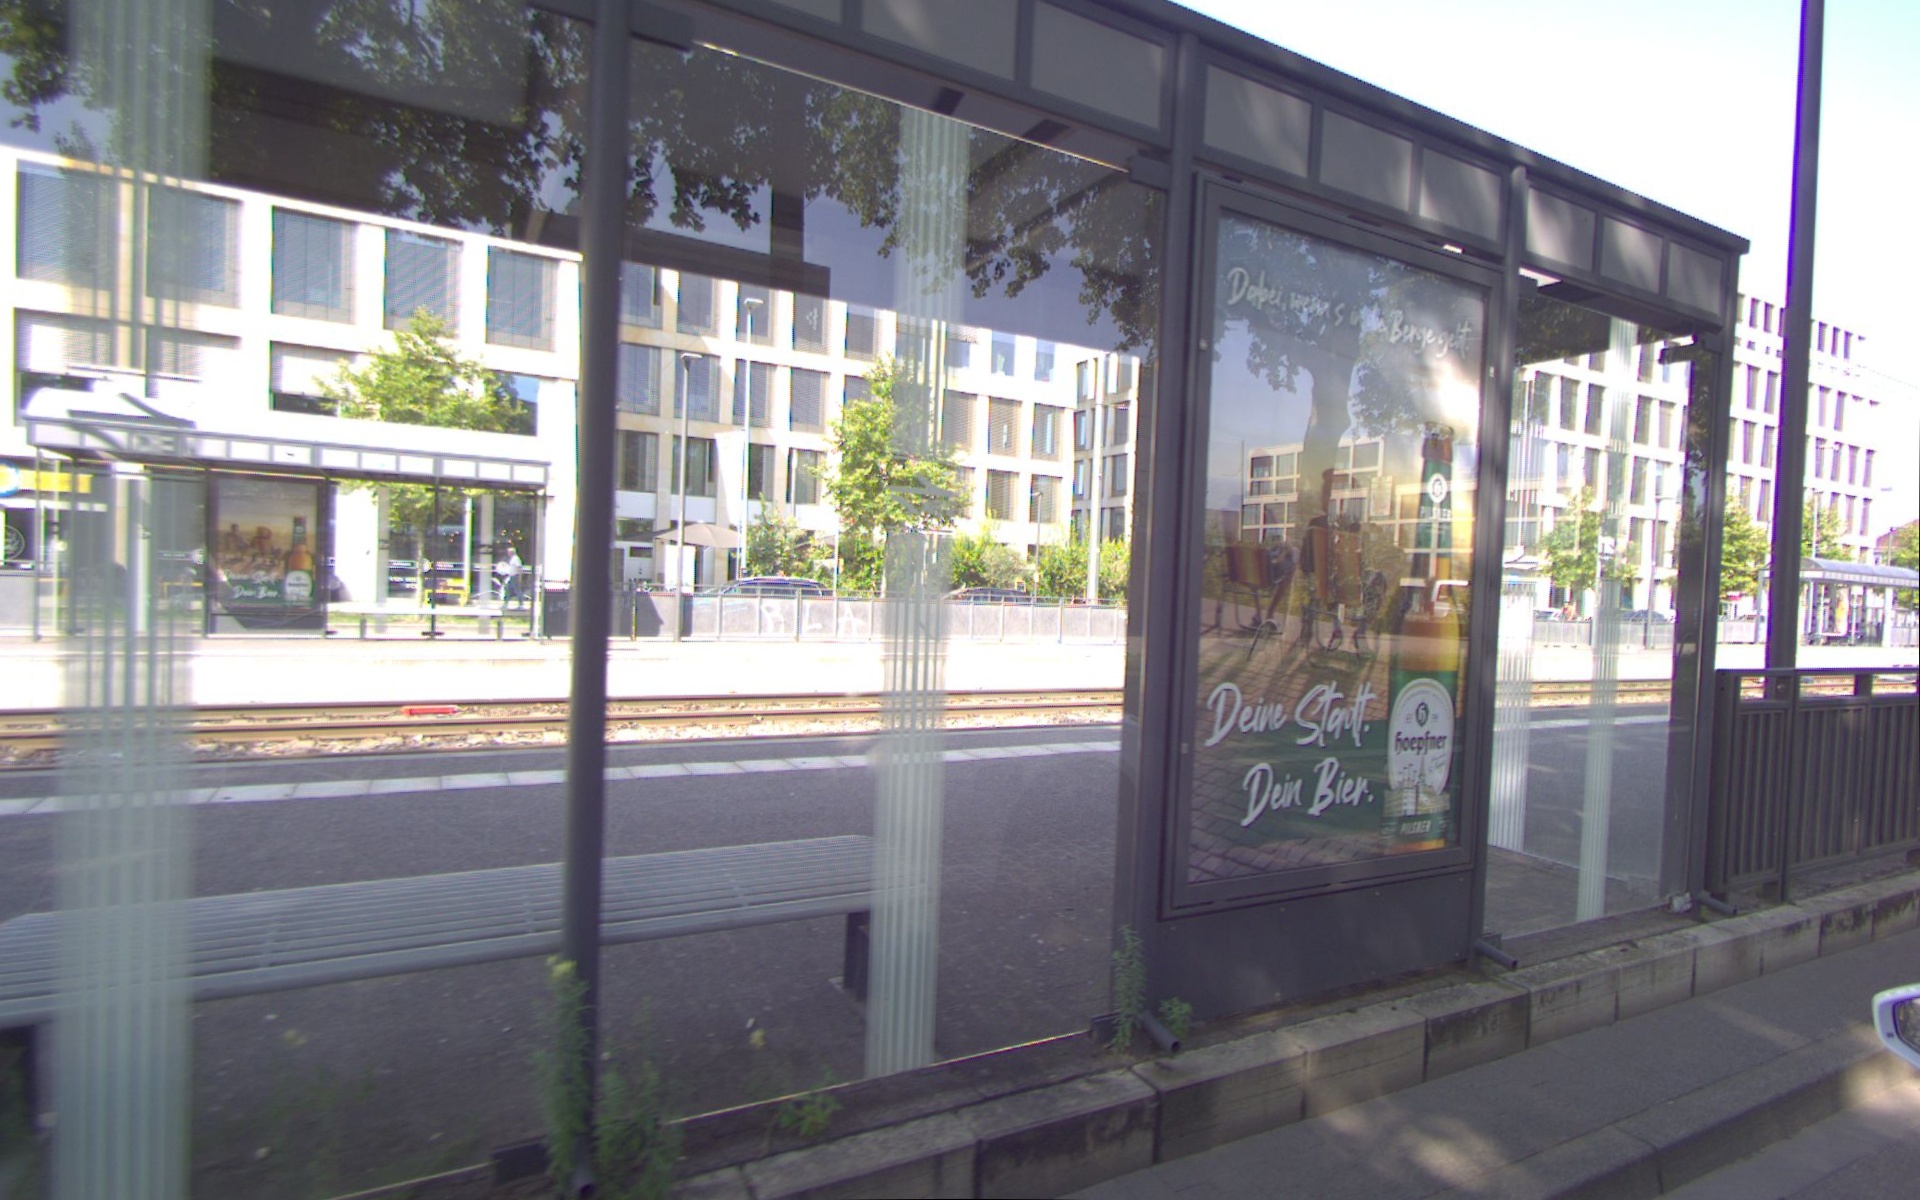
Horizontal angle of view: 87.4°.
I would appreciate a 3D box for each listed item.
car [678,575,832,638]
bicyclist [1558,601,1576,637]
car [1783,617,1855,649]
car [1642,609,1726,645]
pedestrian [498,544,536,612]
[{"bbox_3d":[-5.156,0.166,25.327,3.465,1.447,1.545,2,1,-31],"label":"car"},{"bbox_3d":[23.420,0.725,38.742,0.441,1.379,0.385,1,1,-29],"label":"bicyclist"},{"bbox_3d":[47.277,1.830,55.294,4.084,1.624,1.755,2,0,-30],"label":"car"},{"bbox_3d":[34.752,1.319,48.227,4.084,1.595,1.755,2,0,-30],"label":"car"},{"bbox_3d":[-13.145,-0.627,29.783,0.830,1.942,0.788,3,-3,-34],"label":"pedestrian"}]
